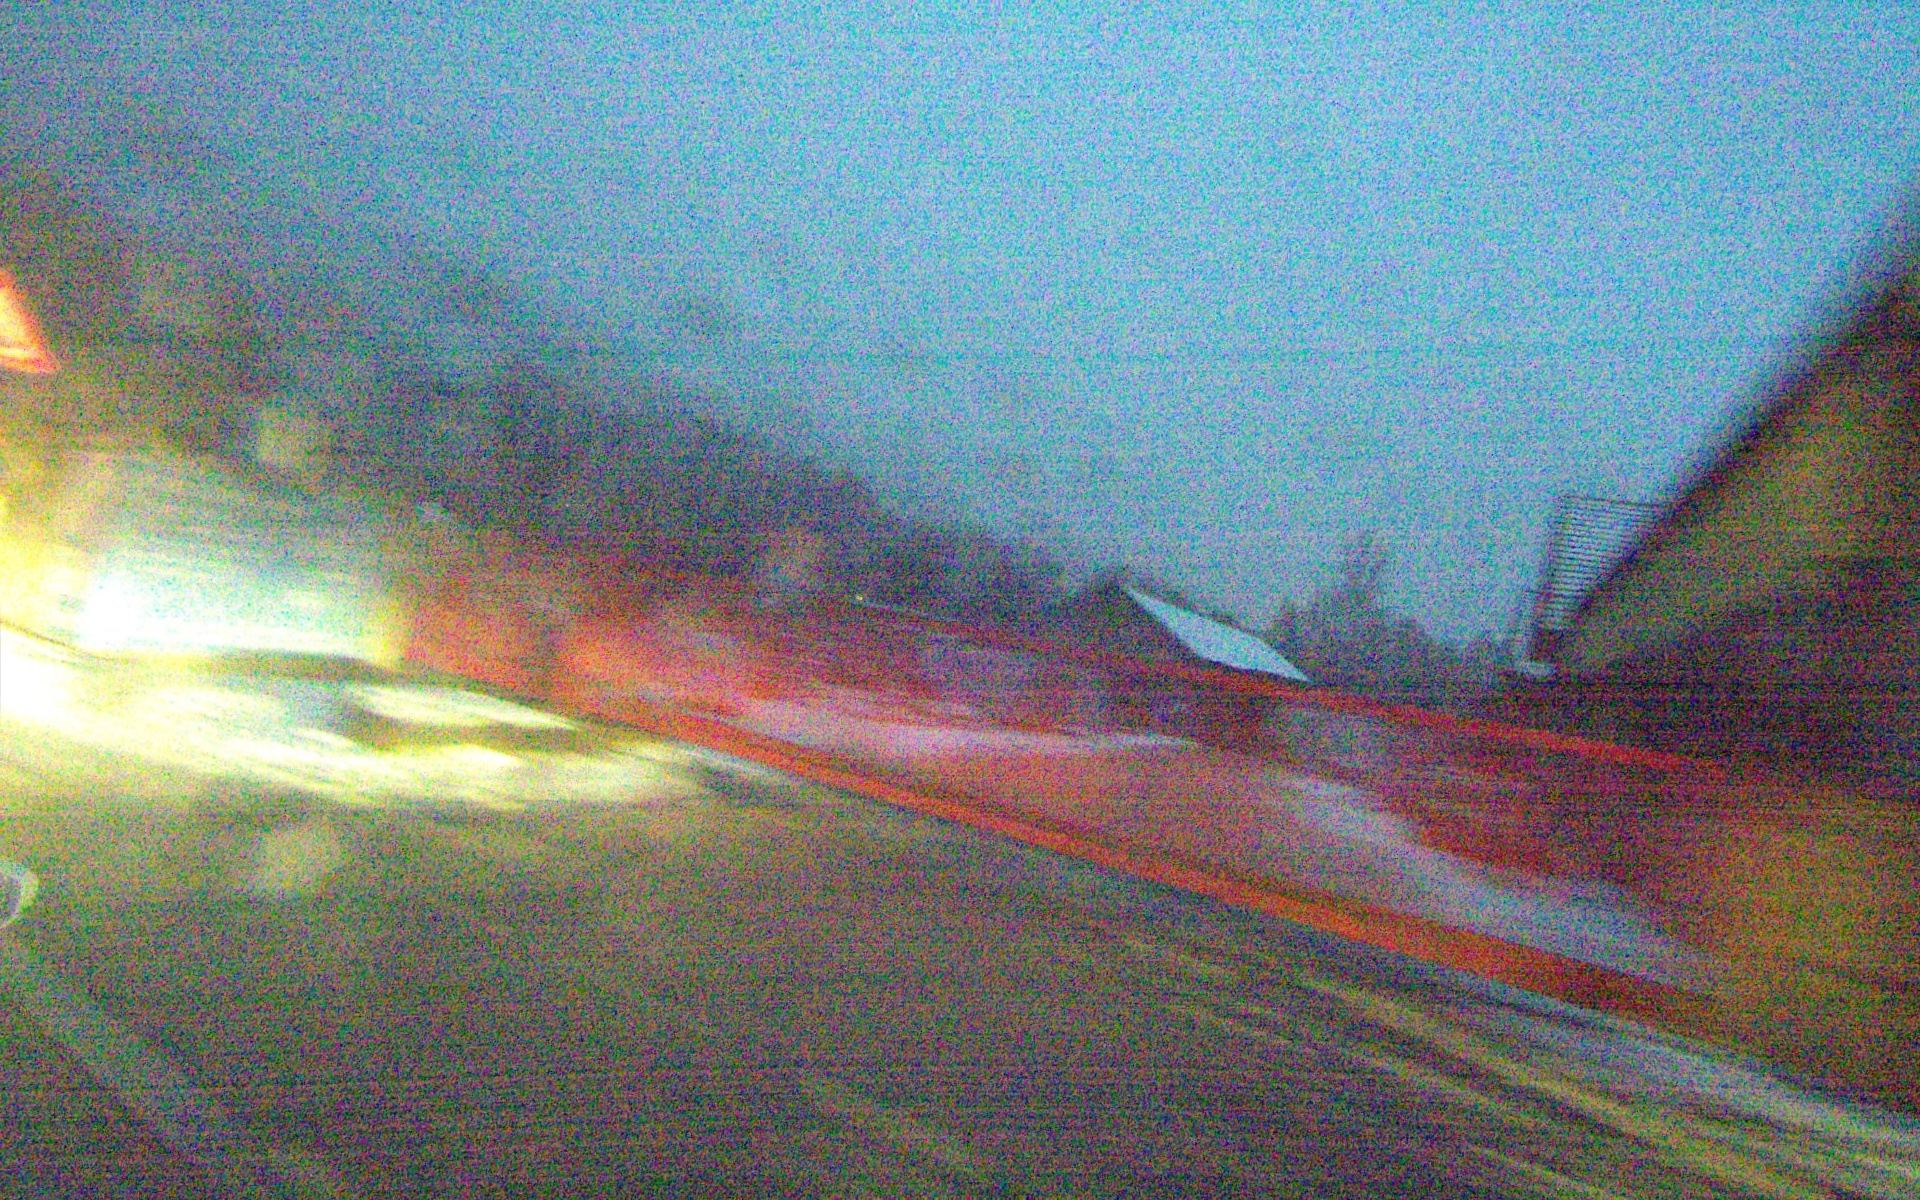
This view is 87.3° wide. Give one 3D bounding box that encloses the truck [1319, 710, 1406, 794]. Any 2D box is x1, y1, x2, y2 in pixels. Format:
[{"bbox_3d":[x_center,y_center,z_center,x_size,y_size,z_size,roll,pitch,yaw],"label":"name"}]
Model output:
[{"bbox_3d":[13.374,4.985,33.256,1.965,2.261,4.386,7,-4,28],"label":"truck"}]
